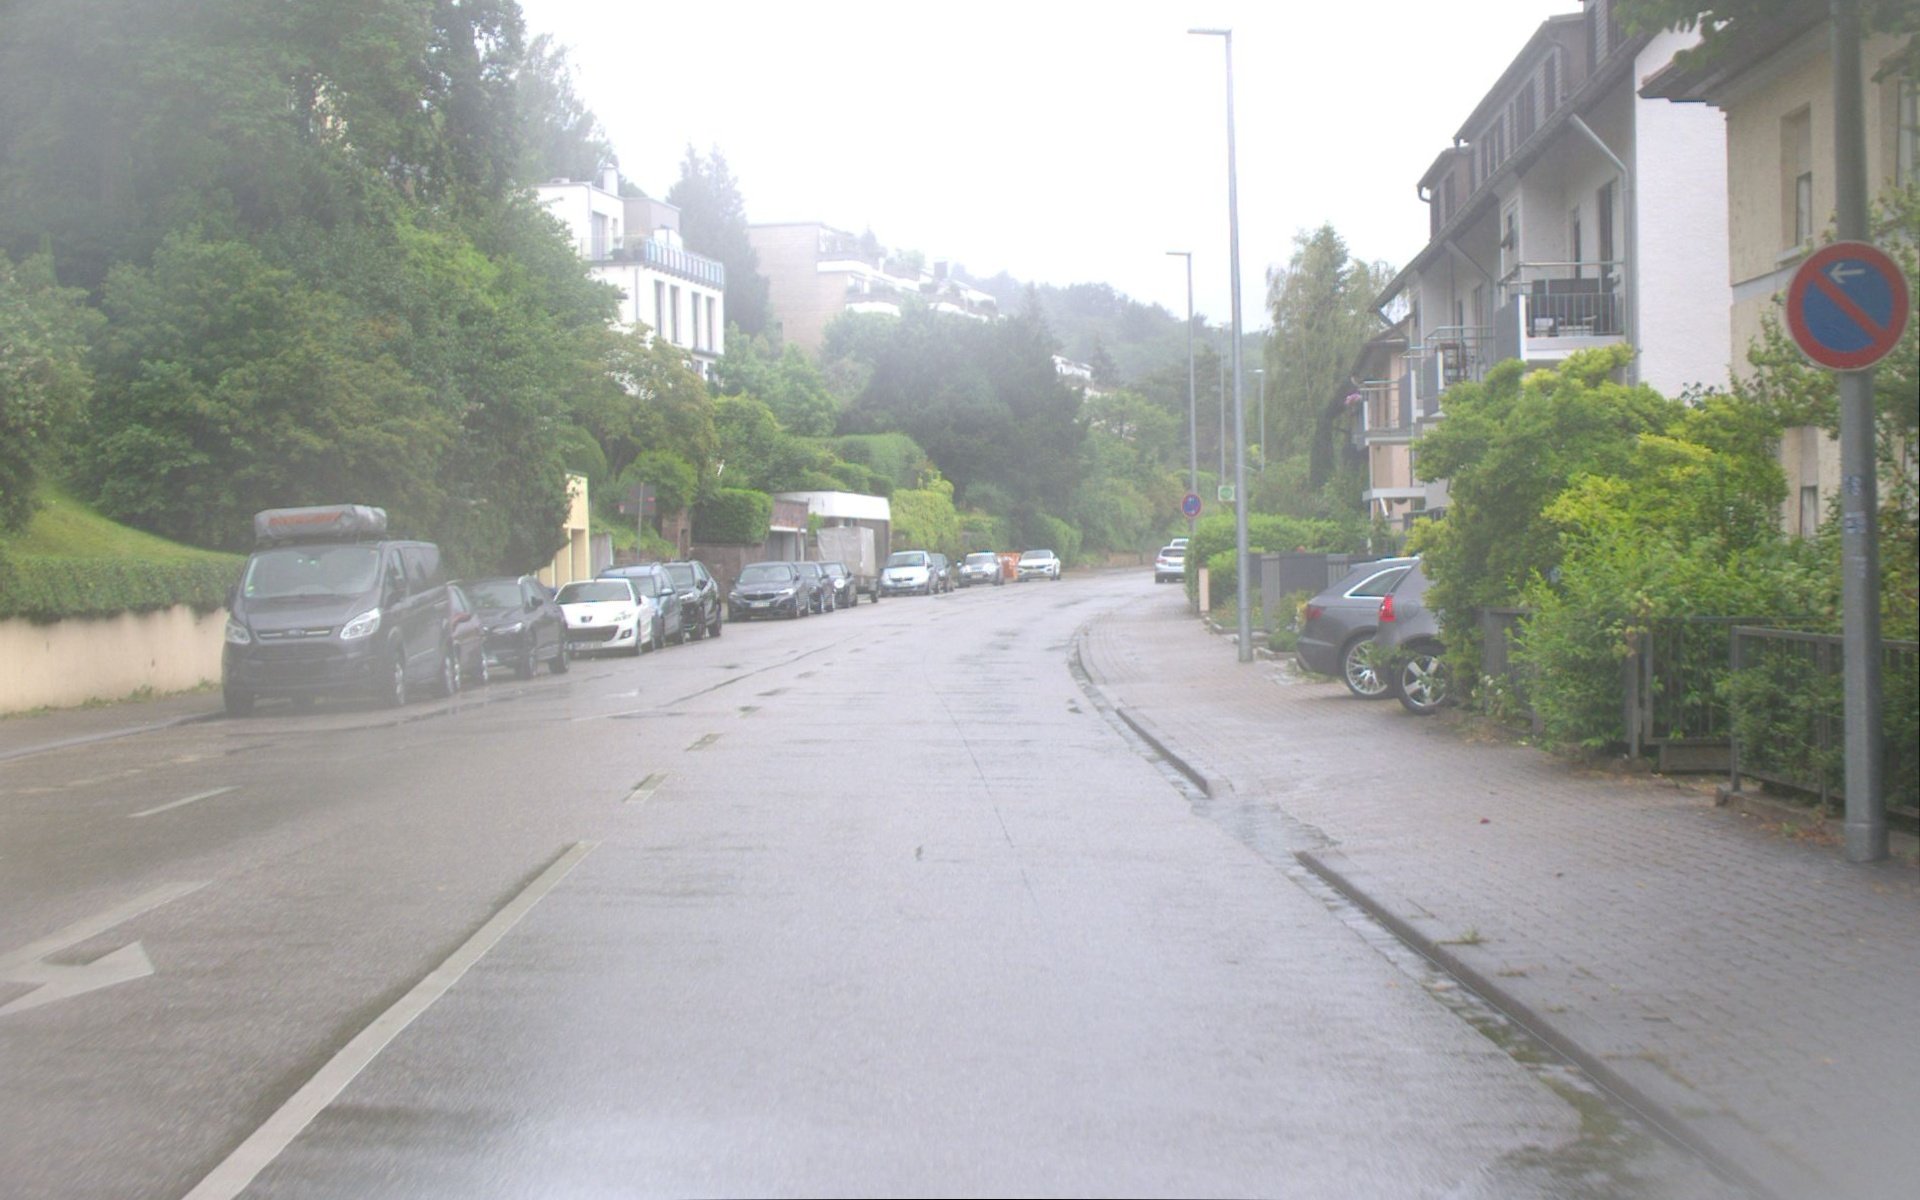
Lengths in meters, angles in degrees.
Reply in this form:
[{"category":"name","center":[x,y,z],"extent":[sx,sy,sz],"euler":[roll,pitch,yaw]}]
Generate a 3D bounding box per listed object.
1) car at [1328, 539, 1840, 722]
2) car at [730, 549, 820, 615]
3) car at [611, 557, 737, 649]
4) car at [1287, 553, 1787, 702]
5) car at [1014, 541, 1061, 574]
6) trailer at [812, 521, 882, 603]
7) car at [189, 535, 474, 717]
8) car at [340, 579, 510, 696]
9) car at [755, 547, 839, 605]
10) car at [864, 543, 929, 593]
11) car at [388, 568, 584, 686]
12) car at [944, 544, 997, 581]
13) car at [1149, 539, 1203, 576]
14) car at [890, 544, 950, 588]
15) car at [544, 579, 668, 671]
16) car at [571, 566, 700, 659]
[{"category":"car","center":[5.418,0.252,30.013],"extent":[3.995,1.452,1.769],"euler":[-1,2,35]},{"category":"car","center":[-4.806,-0.495,89.976],"extent":[1.786,1.450,4.755],"euler":[-4,2,3]},{"category":"car","center":[-5.938,0.028,71.950],"extent":[1.874,1.620,4.593],"euler":[-5,2,3]},{"category":"car","center":[5.567,0.257,33.379],"extent":[4.377,1.359,1.916],"euler":[-1,0,35]},{"category":"car","center":[3.708,-2.041,164.214],"extent":[1.756,1.492,4.219],"euler":[-3,1,7]},{"category":"trailer","center":[-3.549,-1.209,108.214],"extent":[1.537,2.391,3.072],"euler":[-4,1,8]},{"category":"car","center":[-7.307,0.239,40.588],"extent":[2.158,1.912,5.323],"euler":[-3,1,2]},{"category":"car","center":[-7.118,0.474,46.027],"extent":[1.564,1.360,3.907],"euler":[-4,1,0]},{"category":"car","center":[-4.522,-0.688,95.973],"extent":[1.786,1.410,4.217],"euler":[-3,2,4]},{"category":"car","center":[-2.247,-1.159,122.327],"extent":[1.756,1.534,3.756],"euler":[-5,1,6]},{"category":"car","center":[-6.934,0.354,50.772],"extent":[1.908,1.475,4.755],"euler":[-4,1,3]},{"category":"car","center":[0.448,-1.588,144.976],"extent":[1.756,1.397,3.769],"euler":[-4,1,6]},{"category":"car","center":[9.106,-1.803,144.558],"extent":[1.790,1.455,4.307],"euler":[-1,1,9]},{"category":"car","center":[-1.475,-1.277,127.779],"extent":[1.756,1.404,3.704],"euler":[-5,1,6]},{"category":"car","center":[-6.356,0.427,62.084],"extent":[1.716,1.360,4.084],"euler":[-4,2,0]},{"category":"car","center":[-6.286,0.214,66.963],"extent":[1.742,1.555,4.109],"euler":[-4,1,4]}]
